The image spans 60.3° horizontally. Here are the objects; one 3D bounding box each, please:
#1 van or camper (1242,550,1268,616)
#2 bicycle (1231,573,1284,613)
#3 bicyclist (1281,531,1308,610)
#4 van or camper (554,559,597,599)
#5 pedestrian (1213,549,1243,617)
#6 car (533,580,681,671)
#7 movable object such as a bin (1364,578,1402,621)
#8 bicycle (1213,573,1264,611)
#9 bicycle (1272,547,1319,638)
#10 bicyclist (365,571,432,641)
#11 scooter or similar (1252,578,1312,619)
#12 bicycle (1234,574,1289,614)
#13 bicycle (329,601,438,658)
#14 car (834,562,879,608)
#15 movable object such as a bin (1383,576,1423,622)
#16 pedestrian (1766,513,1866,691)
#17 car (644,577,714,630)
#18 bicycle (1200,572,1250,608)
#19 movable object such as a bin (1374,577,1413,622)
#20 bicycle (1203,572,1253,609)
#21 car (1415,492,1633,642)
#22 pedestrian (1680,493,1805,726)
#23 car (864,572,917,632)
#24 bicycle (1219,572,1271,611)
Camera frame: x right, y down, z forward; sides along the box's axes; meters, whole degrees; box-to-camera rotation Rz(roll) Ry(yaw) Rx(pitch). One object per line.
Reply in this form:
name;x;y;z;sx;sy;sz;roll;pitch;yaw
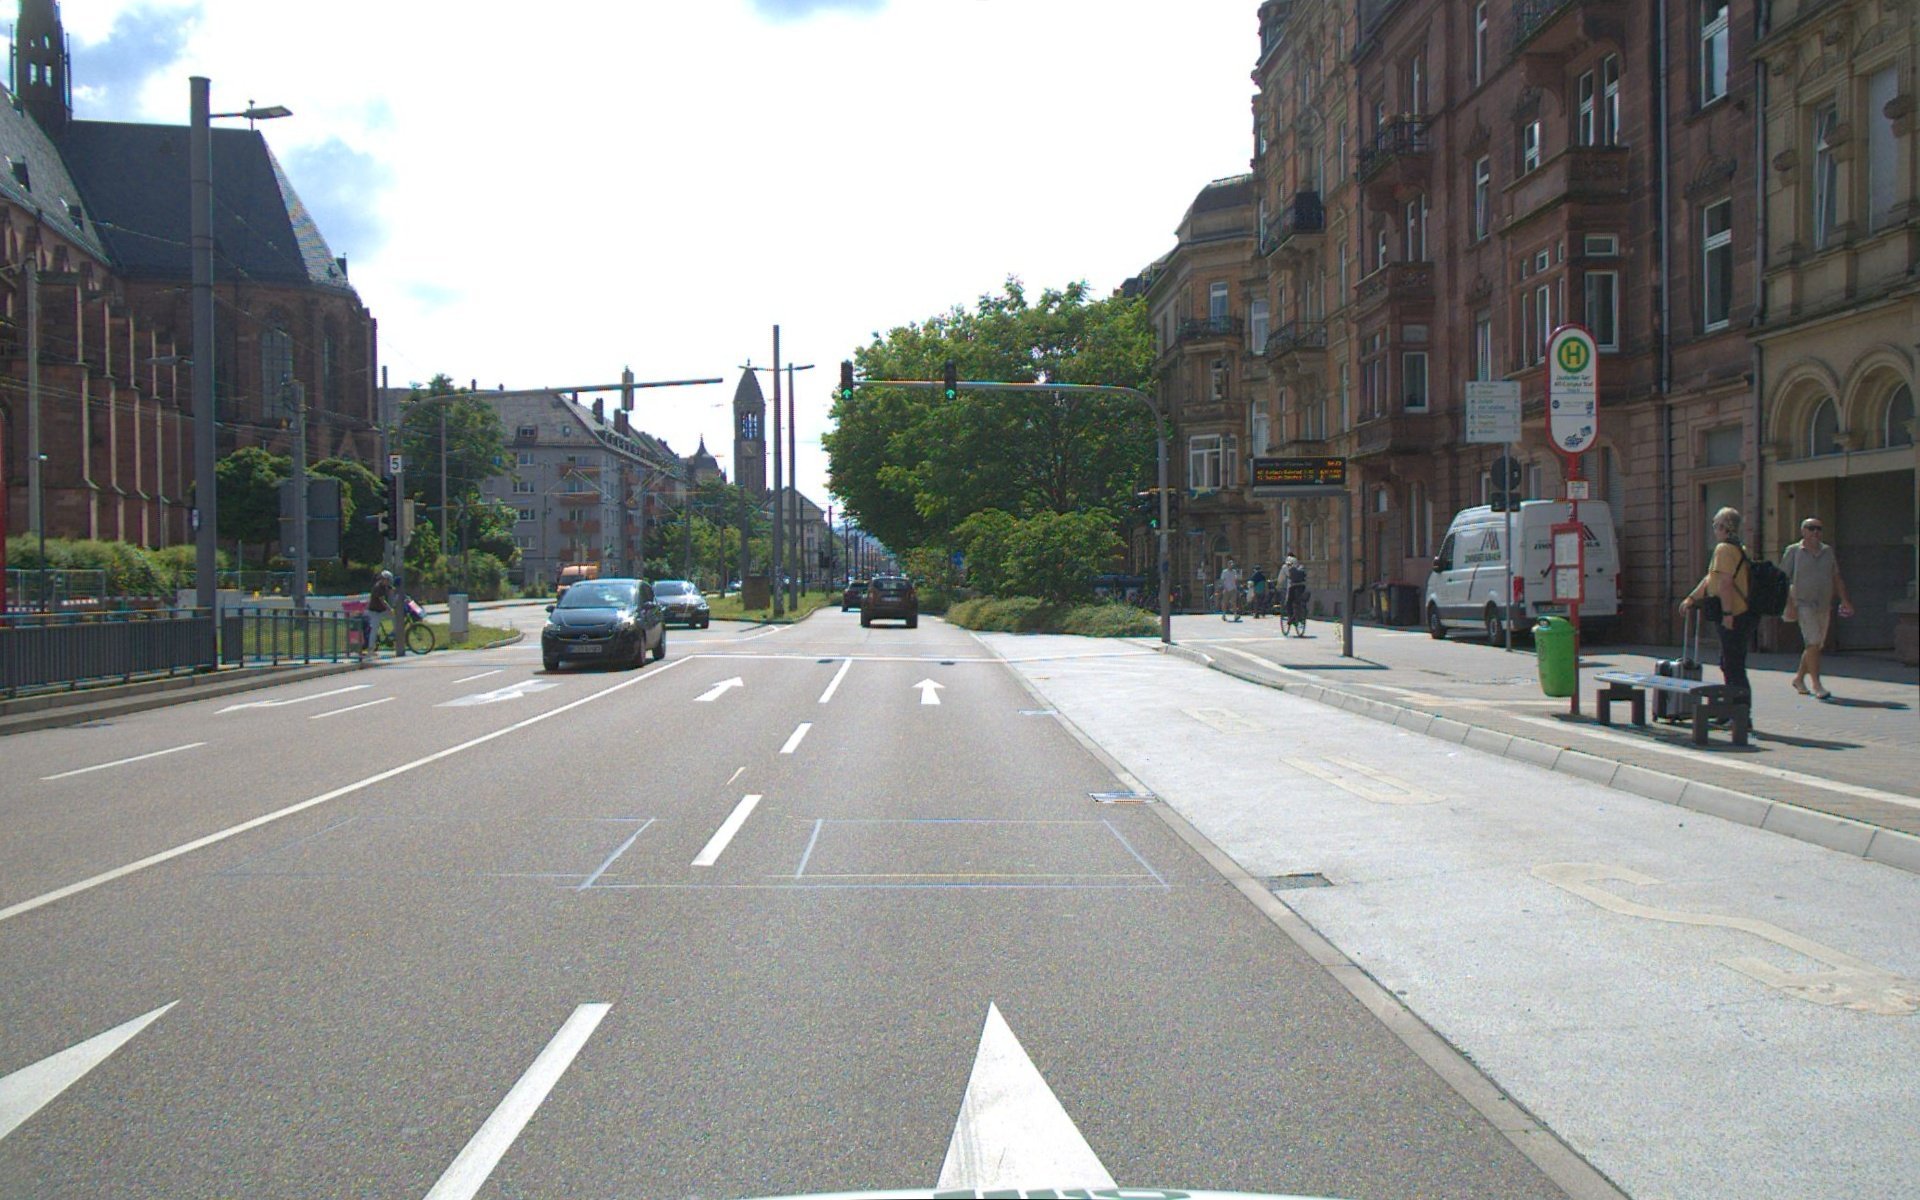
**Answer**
van or camper;9.305;-0.524;52.117;0.652;2.049;0.638;-1;0;-2
bicycle;10.003;-0.234;55.661;1.709;1.290;0.467;-1;3;1
bicyclist;7.464;-0.658;36.913;0.419;1.748;0.828;-1;1;-1
van or camper;-27.820;-1.483;119.876;2.212;2.785;6.196;-1;1;-6
pedestrian;8.124;-0.514;50.156;0.752;2.049;0.715;-1;0;-1
car;-6.044;0.393;28.700;1.877;1.442;3.739;-1;1;-3
movable object such as a bin;11.117;-0.019;43.487;0.770;1.127;0.776;-1;0;-4
bicycle;9.745;-0.291;57.905;1.732;1.290;0.467;-1;3;1
bicycle;7.480;-0.175;36.934;0.669;1.959;1.589;-1;0;-1
bicyclist;-11.978;0.115;35.282;1.066;1.461;0.825;-1;0;8
scooter or similar;10.201;-0.059;52.412;1.733;1.205;0.466;-3;0;-2
bicycle;10.045;-0.202;55.131;1.732;1.290;0.467;-1;3;1
bicycle;-12.285;0.627;35.286;1.975;1.146;0.932;-1;0;8
car;-4.862;-0.709;77.203;1.954;2.049;3.996;-1;1;-5
movable object such as a bin;11.201;-0.032;41.839;0.770;1.127;0.776;-1;0;-4
pedestrian;9.197;0.015;17.780;0.650;1.868;0.693;-1;0;-8
car;-8.948;0.075;52.941;1.782;1.579;4.556;-1;1;-4
bicycle;9.648;-0.375;60.227;1.732;1.290;0.467;-1;3;1
movable object such as a bin;11.162;-0.026;42.594;0.770;1.127;0.776;-1;0;-4
bicycle;9.652;-0.353;59.544;1.732;1.290;0.467;-1;3;1
car;10.526;-0.618;31.425;1.953;2.569;5.887;-1;1;-2
pedestrian;6.702;0.072;14.186;0.653;1.936;0.690;-1;0;-20
car;-2.297;0.026;54.141;1.655;1.740;3.607;-1;3;-4
bicycle;9.845;-0.299;57.105;1.732;1.290;0.467;-1;3;1
